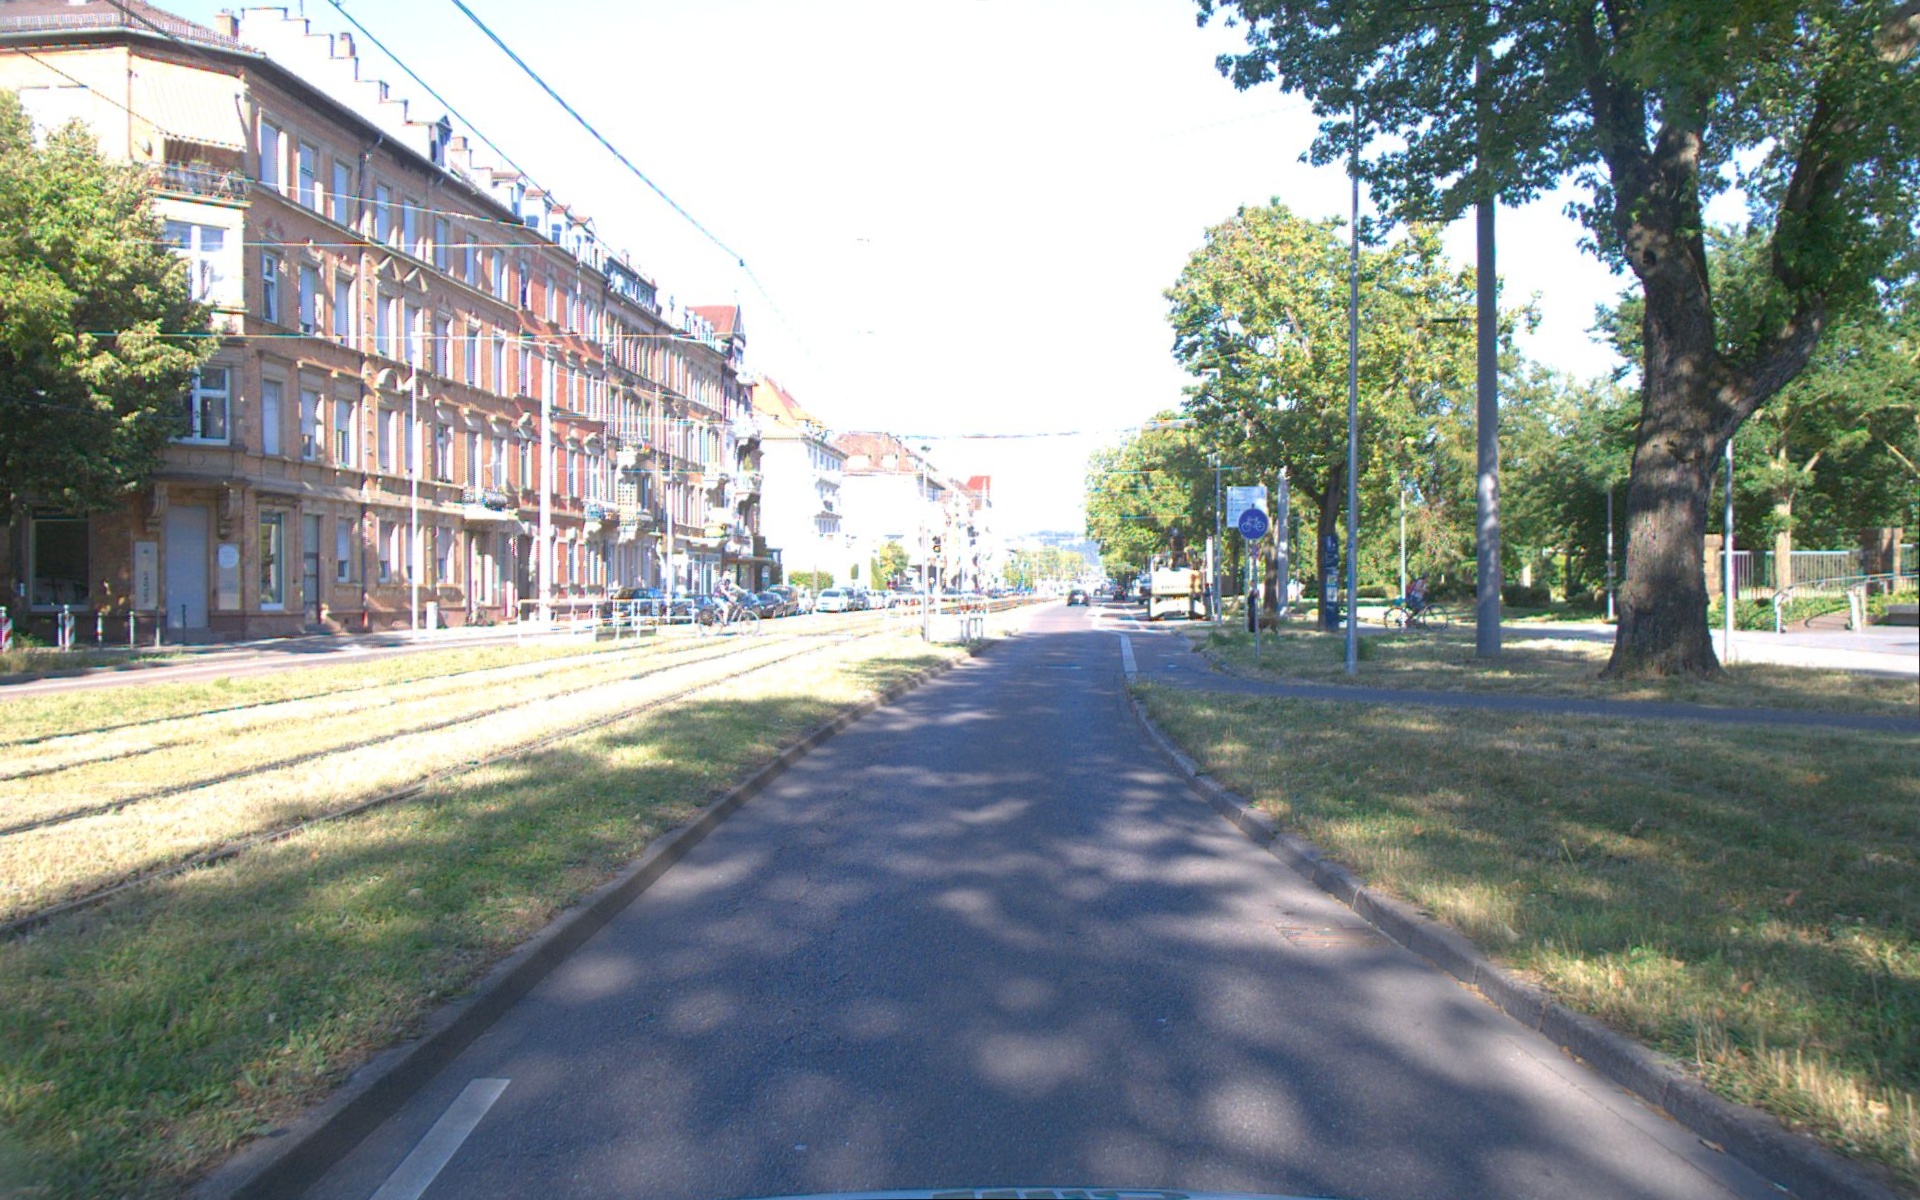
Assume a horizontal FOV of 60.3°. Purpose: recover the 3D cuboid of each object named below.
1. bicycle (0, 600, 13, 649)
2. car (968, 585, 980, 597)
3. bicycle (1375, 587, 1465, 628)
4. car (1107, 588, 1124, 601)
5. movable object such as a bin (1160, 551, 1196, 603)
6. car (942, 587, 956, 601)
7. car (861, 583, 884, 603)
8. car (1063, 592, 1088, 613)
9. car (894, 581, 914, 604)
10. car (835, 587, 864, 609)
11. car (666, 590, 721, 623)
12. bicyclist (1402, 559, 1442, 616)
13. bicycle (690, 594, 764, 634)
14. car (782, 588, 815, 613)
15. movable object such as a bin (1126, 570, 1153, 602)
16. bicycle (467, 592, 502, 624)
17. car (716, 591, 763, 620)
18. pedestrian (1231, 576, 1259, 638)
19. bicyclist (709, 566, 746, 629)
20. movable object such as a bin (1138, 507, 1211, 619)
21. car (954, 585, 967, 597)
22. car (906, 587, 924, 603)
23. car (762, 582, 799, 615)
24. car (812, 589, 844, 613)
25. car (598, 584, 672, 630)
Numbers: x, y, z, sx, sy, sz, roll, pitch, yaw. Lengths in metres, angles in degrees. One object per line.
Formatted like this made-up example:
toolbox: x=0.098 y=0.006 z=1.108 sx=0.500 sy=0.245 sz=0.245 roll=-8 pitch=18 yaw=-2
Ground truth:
bicycle: x=-24.292 y=0.595 z=40.256 sx=0.768 sy=1.199 sz=2.242 roll=2 pitch=0 yaw=16
car: x=2.095 y=-1.392 z=248.176 sx=1.495 sy=1.638 sz=3.225 roll=2 pitch=1 yaw=5
bicycle: x=12.412 y=0.207 z=44.657 sx=2.212 sy=1.059 sz=0.767 roll=-1 pitch=1 yaw=3
car: x=22.679 y=-0.834 z=240.696 sx=1.953 sy=1.892 sz=3.999 roll=2 pitch=0 yaw=-1
movable object such as a bin: x=13.813 y=-1.443 z=105.009 sx=1.927 sy=3.065 sz=4.799 roll=-3 pitch=0 yaw=5
car: x=-1.424 y=-0.765 z=210.114 sx=1.495 sy=1.588 sz=3.225 roll=2 pitch=1 yaw=5
car: x=-7.510 y=-0.629 z=142.546 sx=1.495 sy=1.588 sz=3.225 roll=2 pitch=1 yaw=5
car: x=9.786 y=0.167 z=140.094 sx=1.951 sy=1.713 sz=4.003 roll=2 pitch=0 yaw=5
car: x=-5.653 y=-0.784 z=166.732 sx=1.623 sy=2.177 sz=3.528 roll=2 pitch=1 yaw=5
car: x=-8.437 y=-0.160 z=126.530 sx=1.704 sy=1.588 sz=3.770 roll=2 pitch=2 yaw=5
car: x=-13.088 y=0.303 z=81.403 sx=1.739 sy=1.431 sz=3.912 roll=2 pitch=2 yaw=5
bicyclist: x=12.462 y=-0.349 z=44.664 sx=0.884 sy=1.522 sz=0.767 roll=-1 pitch=1 yaw=3
bicycle: x=-6.472 y=0.382 z=46.007 sx=1.913 sy=1.059 sz=0.767 roll=-1 pitch=1 yaw=1
car: x=-10.641 y=0.026 z=109.040 sx=1.529 sy=1.483 sz=3.667 roll=2 pitch=2 yaw=5
movable object such as a bin: x=17.454 y=-1.381 z=161.043 sx=2.415 sy=2.956 sz=4.002 roll=-3 pitch=0 yaw=5
bicycle: x=-18.257 y=0.310 z=63.516 sx=0.684 sy=1.201 sz=1.752 roll=2 pitch=0 yaw=5
car: x=-12.090 y=0.265 z=90.771 sx=1.739 sy=1.431 sz=3.912 roll=2 pitch=2 yaw=5
pedestrian: x=7.988 y=0.187 z=46.349 sx=0.646 sy=1.675 sz=0.863 roll=-3 pitch=0 yaw=5
bicyclist: x=-6.458 y=-0.075 z=46.006 sx=0.900 sy=1.745 sz=0.767 roll=-1 pitch=1 yaw=1
movable object such as a bin: x=10.753 y=-1.800 z=83.688 sx=3.022 sy=5.177 sz=8.897 roll=-3 pitch=0 yaw=5
car: x=0.081 y=-1.337 z=235.889 sx=1.495 sy=1.638 sz=3.225 roll=2 pitch=1 yaw=5
car: x=-4.712 y=-0.508 z=172.551 sx=1.495 sy=1.588 sz=3.225 roll=2 pitch=1 yaw=5
car: x=-11.061 y=-0.125 z=102.163 sx=1.529 sy=1.886 sz=3.903 roll=2 pitch=1 yaw=5
car: x=-9.700 y=0.072 z=121.861 sx=1.704 sy=1.588 sz=3.770 roll=2 pitch=2 yaw=5
car: x=-14.055 y=0.269 z=71.770 sx=1.973 sy=1.784 sz=4.561 roll=2 pitch=2 yaw=5
